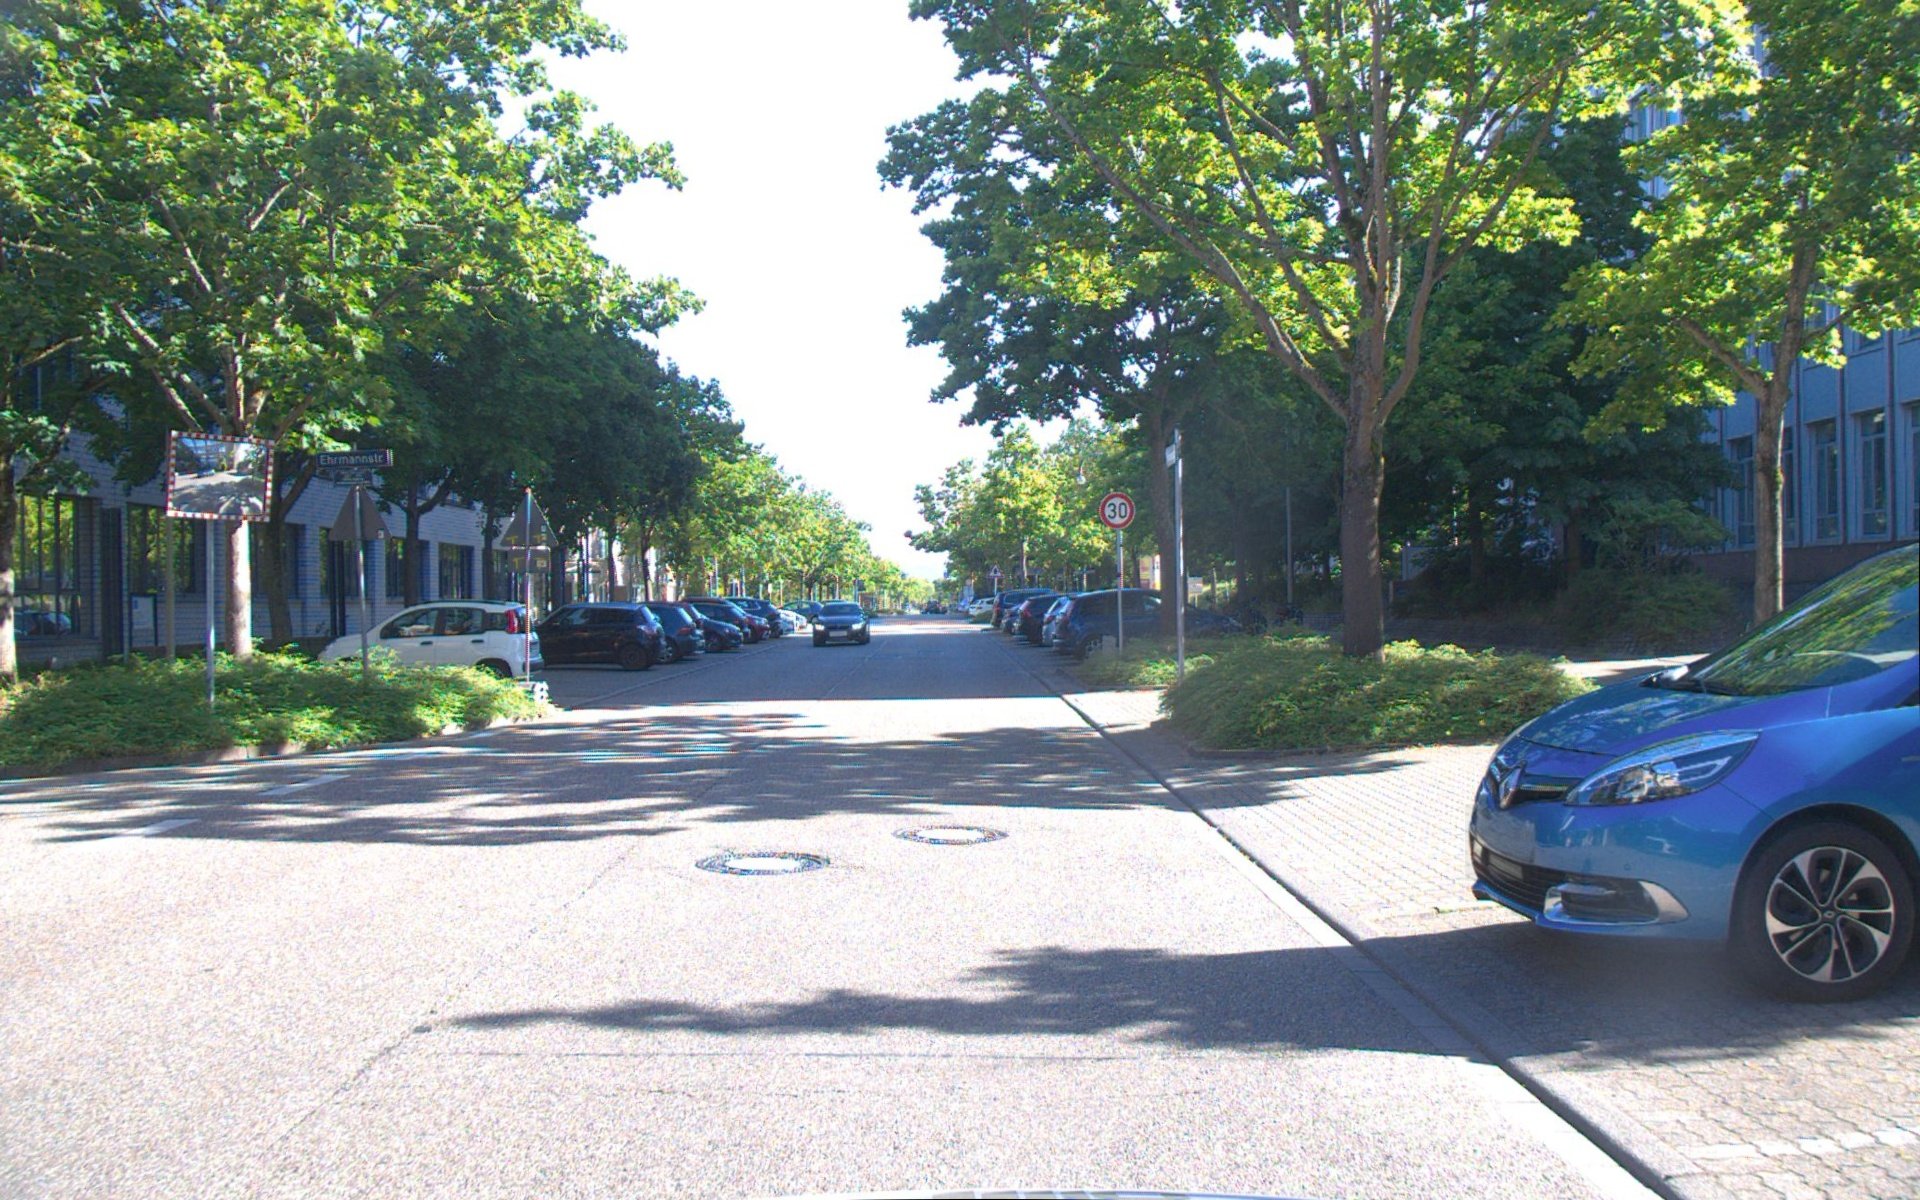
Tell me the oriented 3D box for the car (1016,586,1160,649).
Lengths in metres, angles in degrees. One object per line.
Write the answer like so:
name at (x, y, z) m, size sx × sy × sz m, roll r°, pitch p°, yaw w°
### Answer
car at (3.856, 0.522, 49.906) m, size 4.160 × 1.581 × 1.921 m, roll -4°, pitch 0°, yaw 3°

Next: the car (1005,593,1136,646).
car at (3.534, 0.620, 53.283) m, size 3.968 × 1.619 × 1.547 m, roll -1°, pitch 0°, yaw -8°

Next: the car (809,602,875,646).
car at (-3.975, 0.790, 56.201) m, size 1.775 × 1.440 × 4.109 m, roll 0°, pitch 0°, yaw 3°

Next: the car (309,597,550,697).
car at (-8.778, 0.798, 27.594) m, size 3.509 × 1.577 × 1.636 m, roll -1°, pitch -3°, yaw -4°

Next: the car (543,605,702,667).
car at (-8.501, 0.902, 41.849) m, size 3.685 × 1.470 × 1.631 m, roll 1°, pitch -1°, yaw -1°

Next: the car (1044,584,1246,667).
car at (4.065, 0.556, 36.791) m, size 4.183 × 1.662 × 1.857 m, roll -2°, pitch 0°, yaw -4°

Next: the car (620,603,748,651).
car at (-8.631, 0.839, 51.971) m, size 3.912 × 1.431 × 1.603 m, roll 1°, pitch -1°, yaw -8°

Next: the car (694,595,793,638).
car at (-9.195, 0.696, 70.490) m, size 3.904 × 1.683 × 1.861 m, roll -2°, pitch 0°, yaw 1°

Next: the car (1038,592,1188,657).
car at (3.877, 0.620, 42.256) m, size 3.564 × 1.492 × 1.632 m, roll -2°, pitch 0°, yaw -5°

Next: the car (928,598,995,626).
car at (0.076, 0.747, 101.998) m, size 3.910 × 1.653 × 1.997 m, roll -1°, pitch 0°, yaw -6°

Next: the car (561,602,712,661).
car at (-8.664, 0.843, 44.530) m, size 3.790 × 1.482 × 1.753 m, roll 1°, pitch 1°, yaw -4°

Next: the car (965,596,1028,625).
car at (2.412, 0.665, 108.625) m, size 3.910 × 1.824 × 1.997 m, roll -1°, pitch 0°, yaw -6°

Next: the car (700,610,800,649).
car at (-8.436, 1.176, 66.683) m, size 3.814 × 1.489 × 1.857 m, roll -1°, pitch 0°, yaw -2°

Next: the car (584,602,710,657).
car at (-8.862, 0.828, 47.051) m, size 3.353 × 1.489 × 1.694 m, roll 1°, pitch 0°, yaw -6°

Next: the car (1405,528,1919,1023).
car at (4.290, 0.510, 6.798) m, size 4.317 × 1.646 × 1.911 m, roll -4°, pitch 0°, yaw -2°

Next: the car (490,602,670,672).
car at (-8.494, 0.815, 37.209) m, size 3.657 × 1.489 × 1.676 m, roll -1°, pitch 0°, yaw -2°

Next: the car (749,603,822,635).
car at (-9.901, 1.061, 94.008) m, size 3.904 × 1.683 × 1.861 m, roll -2°, pitch 0°, yaw 1°

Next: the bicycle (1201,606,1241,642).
bicycle at (7.980, 0.726, 50.606) m, size 0.373 × 1.097 × 1.775 m, roll -1°, pitch 0°, yaw -21°

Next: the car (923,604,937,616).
car at (-4.156, 1.439, 230.004) m, size 1.894 × 1.625 × 4.365 m, roll -1°, pitch 0°, yaw -1°

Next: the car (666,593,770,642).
car at (-8.687, 0.650, 59.589) m, size 3.468 × 1.686 × 1.761 m, roll -1°, pitch -1°, yaw 0°

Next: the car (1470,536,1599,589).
car at (20.935, -1.354, 60.348) m, size 3.992 × 1.814 × 1.998 m, roll 1°, pitch -1°, yaw -5°

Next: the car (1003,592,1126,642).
car at (3.534, 0.588, 56.312) m, size 3.964 × 1.517 × 1.548 m, roll -2°, pitch -1°, yaw -4°

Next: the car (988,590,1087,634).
car at (3.156, 0.502, 68.056) m, size 3.817 × 1.685 × 1.856 m, roll -1°, pitch 0°, yaw -6°

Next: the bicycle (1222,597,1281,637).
bicycle at (8.208, 0.476, 46.579) m, size 0.377 × 1.097 × 1.759 m, roll 0°, pitch -1°, yaw -42°

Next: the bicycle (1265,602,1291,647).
bicycle at (7.921, 0.598, 41.264) m, size 0.371 × 1.065 × 1.886 m, roll -3°, pitch 0°, yaw 4°

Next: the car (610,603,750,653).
car at (-8.347, 0.850, 49.530) m, size 3.907 × 1.437 × 1.665 m, roll 1°, pitch -1°, yaw -3°

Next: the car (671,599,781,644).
car at (-8.964, 0.844, 63.593) m, size 3.904 × 1.614 × 1.765 m, roll -2°, pitch -2°, yaw 2°
